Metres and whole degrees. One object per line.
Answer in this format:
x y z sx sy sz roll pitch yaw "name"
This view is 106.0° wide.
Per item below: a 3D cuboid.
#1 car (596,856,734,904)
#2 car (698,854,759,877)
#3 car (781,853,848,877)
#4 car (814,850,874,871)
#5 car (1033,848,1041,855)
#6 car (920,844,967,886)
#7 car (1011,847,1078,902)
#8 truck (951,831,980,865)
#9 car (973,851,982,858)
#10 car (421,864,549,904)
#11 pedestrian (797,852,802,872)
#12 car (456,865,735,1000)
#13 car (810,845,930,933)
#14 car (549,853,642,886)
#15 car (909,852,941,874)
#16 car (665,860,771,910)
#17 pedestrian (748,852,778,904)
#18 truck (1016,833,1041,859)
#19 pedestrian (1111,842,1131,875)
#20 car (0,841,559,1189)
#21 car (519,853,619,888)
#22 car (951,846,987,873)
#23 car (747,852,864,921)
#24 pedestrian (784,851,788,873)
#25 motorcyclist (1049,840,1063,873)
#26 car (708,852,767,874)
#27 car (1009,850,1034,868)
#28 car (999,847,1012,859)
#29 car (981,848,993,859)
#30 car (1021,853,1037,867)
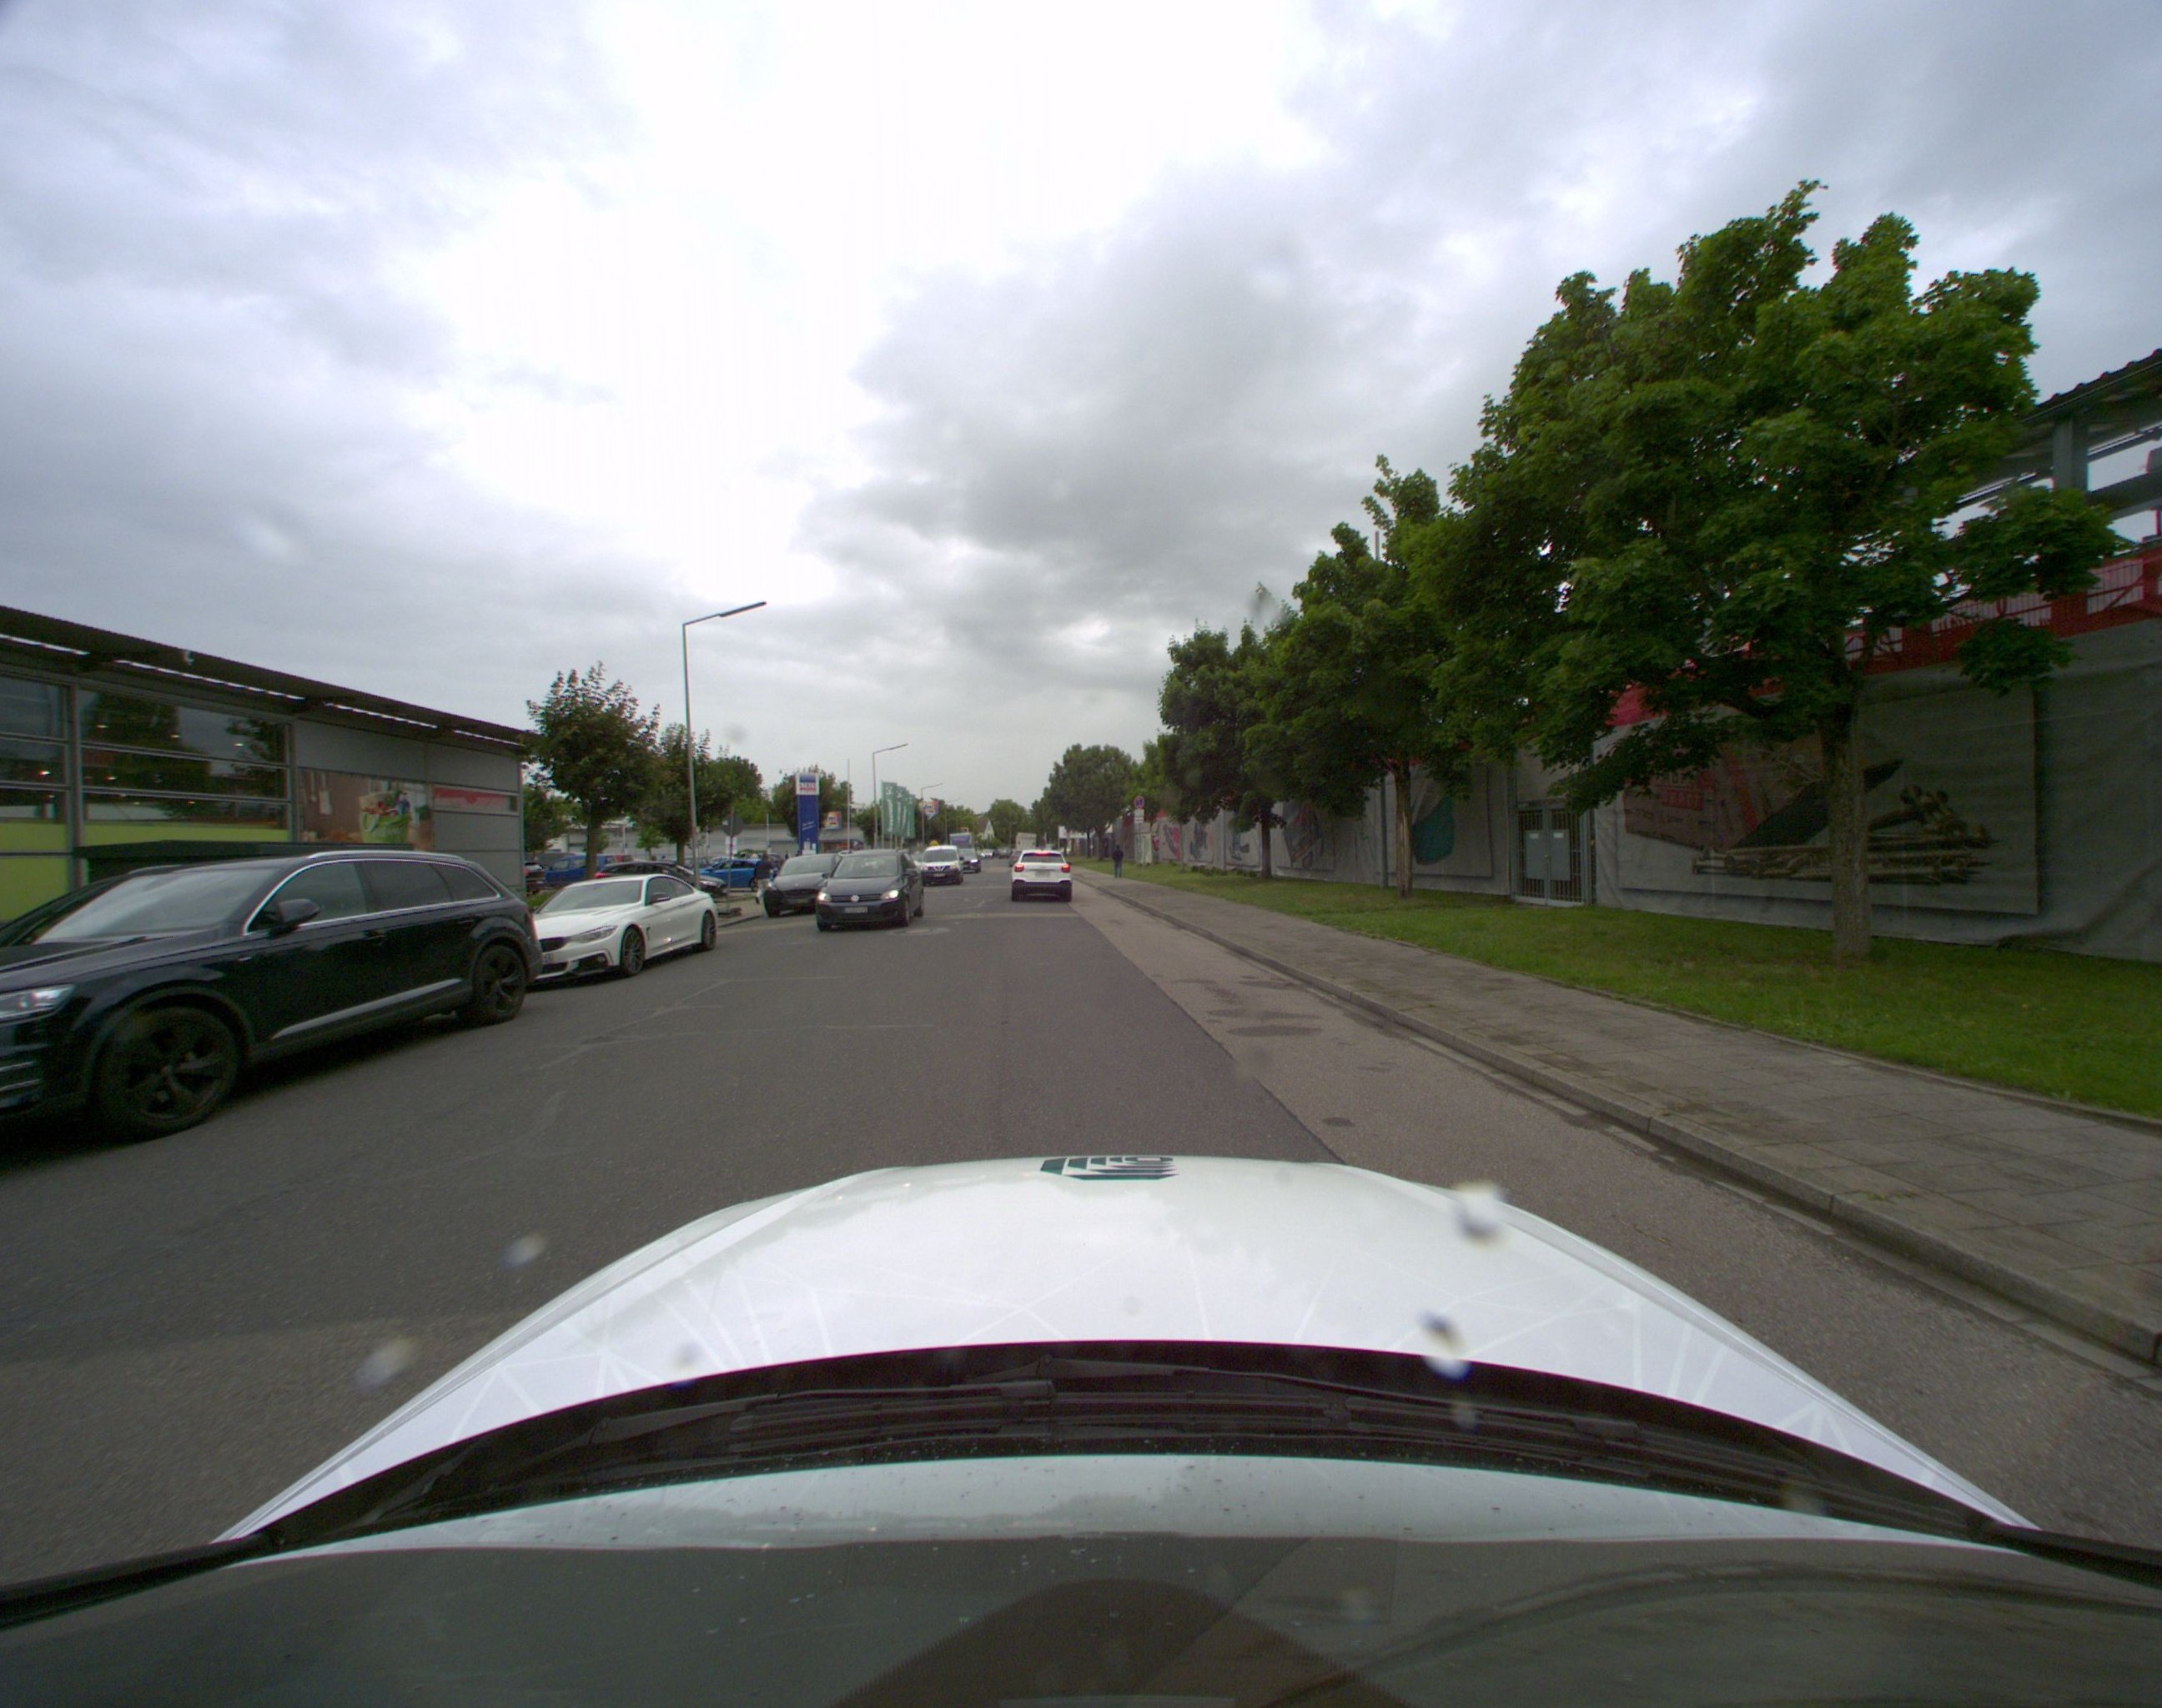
-14.592 0.895 28.730 3.867 1.620 1.924 0 0 -5 "car"
-27.874 0.896 64.472 3.981 1.669 1.873 -2 0 -6 "car"
-18.594 0.766 56.921 4.208 1.463 1.944 -2 1 -13 "car"
-17.982 0.488 61.874 4.137 1.463 1.892 -2 0 -11 "car"
-11.391 -0.589 210.662 1.883 1.683 4.247 1 0 -4 "car"
-6.279 0.458 37.496 1.687 1.760 4.128 -3 1 -4 "car"
-1.176 0.578 25.183 1.883 1.531 4.247 1 0 -4 "car"
-14.339 -0.764 101.129 2.968 3.955 6.394 -3 1 -5 "truck"
-19.010 0.066 149.606 1.621 1.375 3.445 0 0 -6 "car"
-25.774 1.251 35.343 3.991 1.485 1.868 -2 0 -13 "car"
-22.293 0.640 64.473 0.360 1.570 0.501 -1 0 -19 "pedestrian"
-6.884 0.988 12.232 1.696 1.367 4.509 -6 1 -6 "car"
-4.313 0.641 17.220 1.726 1.571 3.940 -3 1 -5 "car"
-27.285 0.846 45.865 3.981 1.669 1.873 -2 0 -6 "car"
-10.691 0.615 55.626 1.901 1.367 3.981 -2 1 -14 "car"
-15.919 1.328 35.933 3.933 2.013 1.754 -1 0 -12 "car"
-10.687 0.790 27.386 0.775 1.715 0.694 -1 0 -10 "pedestrian"
-7.492 -1.111 116.034 3.131 3.585 10.028 0 0 -6 "truck"
2.041 0.232 41.343 0.917 1.635 0.851 0 -1 -3 "pedestrian"
-6.384 0.842 6.214 1.862 1.691 4.722 -5 1 -4 "car"
-27.110 0.838 43.214 3.981 1.669 1.873 -2 0 -6 "car"
-7.488 0.348 54.610 1.929 1.684 4.490 -2 0 -3 "car"
-7.563 0.811 22.815 1.943 1.526 4.395 -5 1 -5 "car"
-23.714 0.639 65.481 0.263 1.730 0.420 -1 0 -17 "pedestrian"
-1.197 0.110 39.267 0.623 1.554 0.603 -1 0 -3 "motorcyclist"
-28.207 0.758 66.958 3.981 1.669 1.873 -2 0 -6 "car"
-5.045 0.399 68.874 1.935 1.367 3.992 -2 1 -6 "car"
-11.622 -0.190 125.060 1.868 1.662 3.991 -2 1 -7 "car"
-14.334 -0.050 124.650 1.596 1.528 3.522 -3 0 -5 "car"
-6.870 0.755 107.014 1.991 1.806 3.991 0 0 -6 "car"
